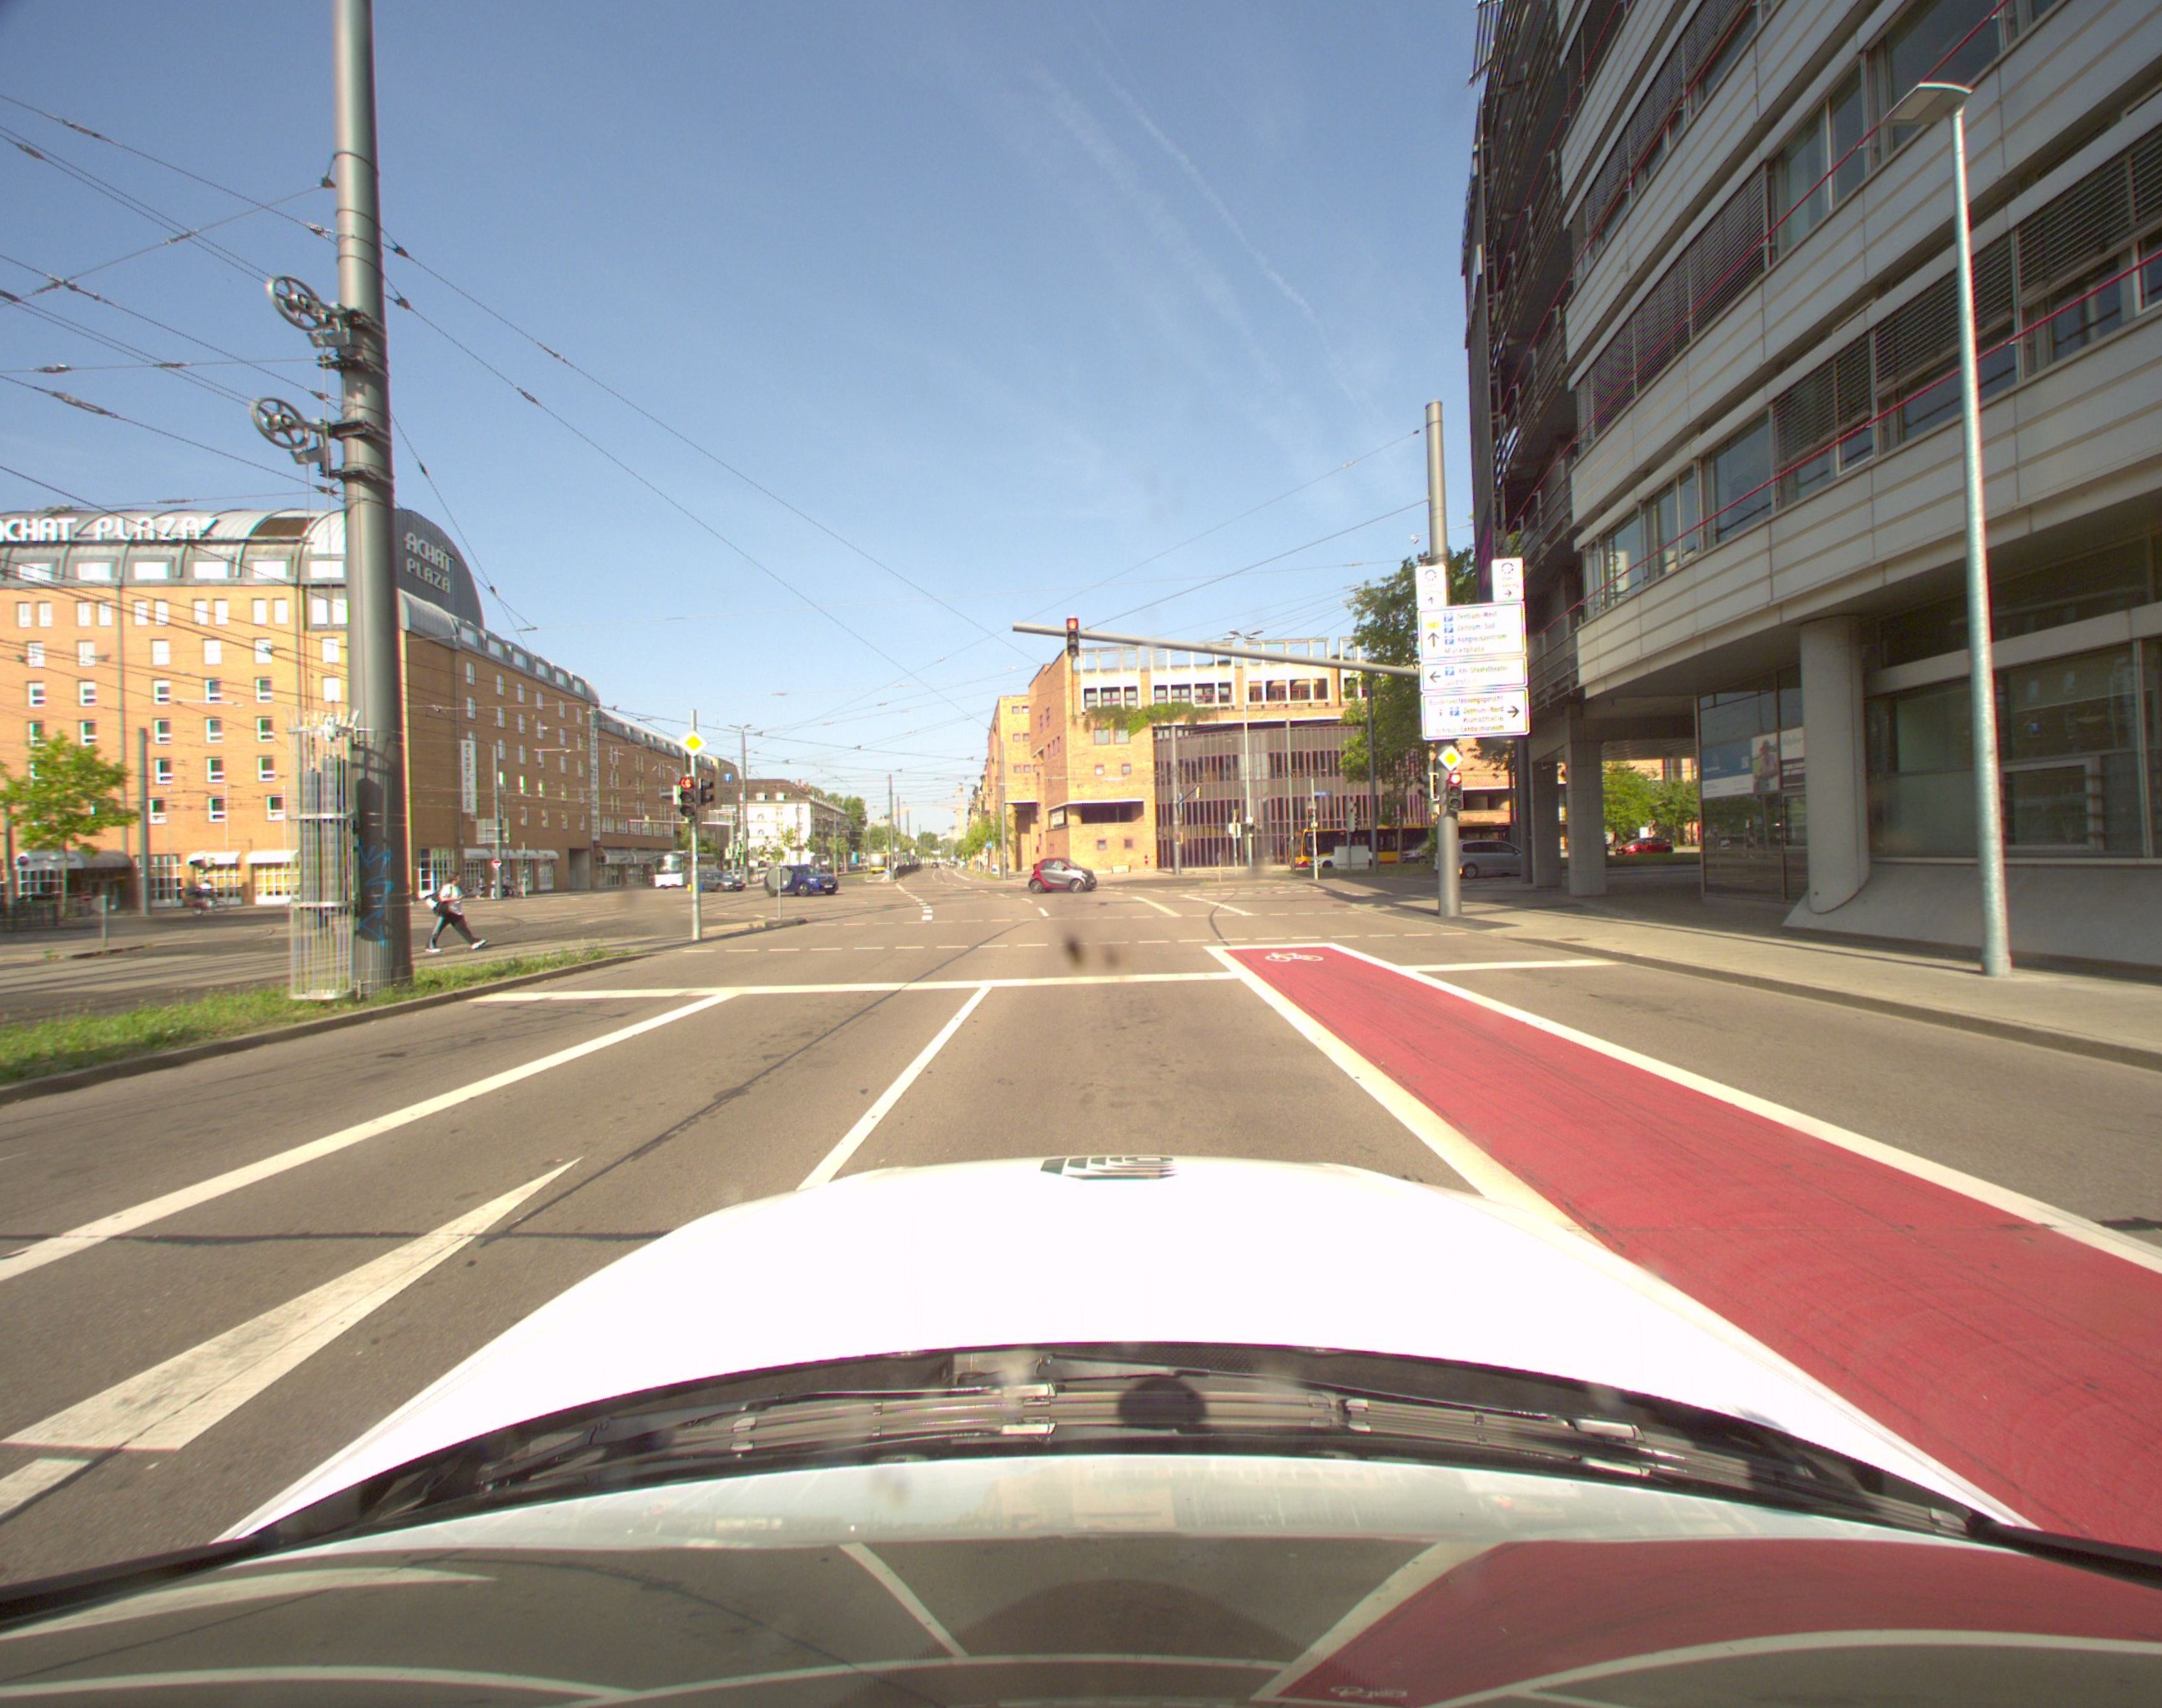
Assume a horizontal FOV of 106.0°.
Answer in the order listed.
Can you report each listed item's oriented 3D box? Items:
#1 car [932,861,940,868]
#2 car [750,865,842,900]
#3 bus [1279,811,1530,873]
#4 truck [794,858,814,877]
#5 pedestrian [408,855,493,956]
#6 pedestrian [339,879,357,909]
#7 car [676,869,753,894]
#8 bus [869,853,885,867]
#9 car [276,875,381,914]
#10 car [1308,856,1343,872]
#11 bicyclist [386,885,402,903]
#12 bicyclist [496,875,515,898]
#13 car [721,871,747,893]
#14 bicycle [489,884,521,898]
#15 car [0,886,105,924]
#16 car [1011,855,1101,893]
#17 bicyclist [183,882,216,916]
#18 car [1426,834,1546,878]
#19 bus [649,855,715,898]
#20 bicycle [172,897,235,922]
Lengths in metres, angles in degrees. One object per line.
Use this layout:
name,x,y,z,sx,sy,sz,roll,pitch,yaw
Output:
car,-38.431,2.810,216.292,2.074,1.542,4.398,-2,-2,-10
car,-14.694,1.461,41.930,4.357,1.636,2.004,-3,-2,28
bus,23.184,-0.859,58.528,17.599,3.811,2.857,-2,-2,-8
truck,-39.205,1.911,115.372,1.994,2.599,4.723,-2,-1,-10
pedestrian,-13.077,1.053,16.922,1.157,2.014,0.772,-1,-2,-14
pedestrian,-47.913,2.604,53.231,0.753,1.953,0.874,-1,-1,-37
car,-24.241,1.791,53.912,4.178,1.487,2.007,-2,-2,12
bus,-29.567,0.866,118.109,1.994,2.013,3.986,-1,0,-10
car,-43.547,2.340,47.151,4.573,2.013,2.005,-2,0,9
car,16.065,0.654,53.504,1.945,0.958,1.094,-2,0,0
bicyclist,-45.489,2.655,53.911,0.520,1.129,0.610,-2,-2,0
bicyclist,-44.156,2.481,62.456,0.988,1.696,0.667,-1,-2,-14
car,-32.790,2.635,77.060,1.601,2.014,2.721,-2,-2,-9
bicycle,-44.147,2.844,62.441,1.962,0.970,0.418,-1,-2,-14
car,-59.413,2.933,46.747,3.982,2.014,1.995,-2,-2,-7
car,-1.093,0.885,36.006,3.562,1.492,1.711,-2,0,19
bicyclist,-46.517,2.365,42.969,0.660,1.747,0.971,-2,-2,15
car,17.192,0.070,34.653,4.374,1.634,1.686,-2,1,-7
bus,-40.064,2.289,82.324,2.747,3.921,12.170,-1,-2,-11
bicycle,-46.455,2.917,43.153,0.544,1.206,2.296,-2,-2,14
